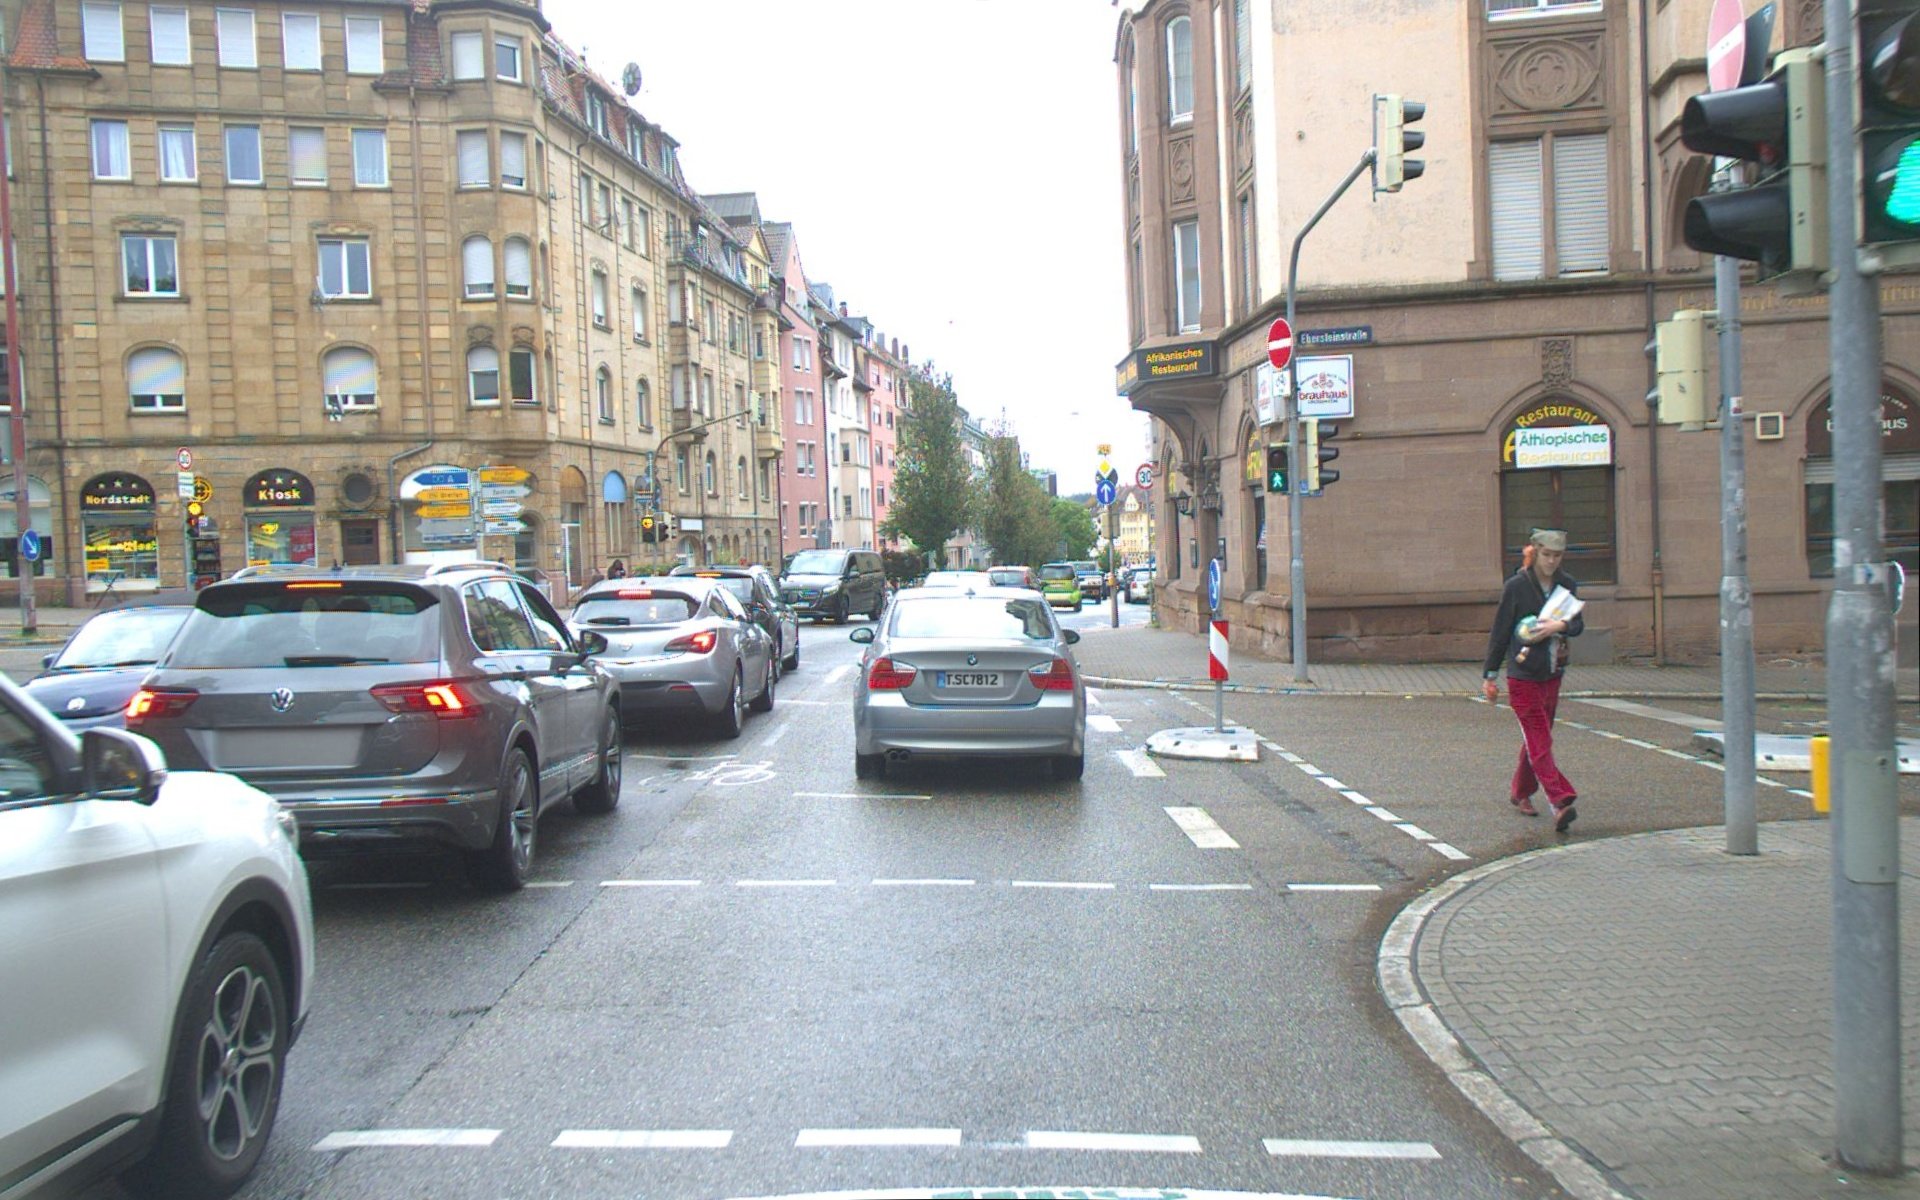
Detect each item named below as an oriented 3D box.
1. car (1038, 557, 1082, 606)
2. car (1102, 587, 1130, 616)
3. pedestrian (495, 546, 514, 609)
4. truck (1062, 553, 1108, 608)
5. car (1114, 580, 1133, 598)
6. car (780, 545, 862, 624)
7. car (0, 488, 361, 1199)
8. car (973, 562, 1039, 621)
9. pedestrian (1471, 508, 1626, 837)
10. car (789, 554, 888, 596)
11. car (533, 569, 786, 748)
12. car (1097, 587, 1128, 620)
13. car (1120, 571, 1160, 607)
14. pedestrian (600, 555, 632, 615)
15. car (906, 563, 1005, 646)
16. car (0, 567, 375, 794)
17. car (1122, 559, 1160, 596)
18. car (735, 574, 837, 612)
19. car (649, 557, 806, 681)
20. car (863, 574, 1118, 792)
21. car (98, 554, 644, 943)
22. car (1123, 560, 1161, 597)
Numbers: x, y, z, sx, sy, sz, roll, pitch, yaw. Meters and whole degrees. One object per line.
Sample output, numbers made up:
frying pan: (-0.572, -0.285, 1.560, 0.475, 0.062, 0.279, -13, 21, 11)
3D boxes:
car: (3.311, -0.601, 55.080, 1.418, 1.593, 3.334, 0, 0, 3)
car: (10.348, 0.090, 109.499, 1.740, 1.829, 4.003, 1, -1, 6)
pedestrian: (-13.012, -0.644, 47.258, 0.514, 1.805, 0.690, 0, 1, -18)
truck: (5.862, -0.881, 77.227, 1.989, 2.455, 4.830, 0, 0, 6)
car: (17.052, -1.151, 172.212, 1.839, 1.761, 4.680, 0, 1, 7)
car: (-3.551, -0.400, 42.836, 1.707, 1.878, 4.146, -2, 0, 0)
car: (-2.545, 0.646, 2.713, 1.717, 1.673, 4.376, 0, 0, -3)
car: (1.274, -0.219, 44.202, 1.662, 1.509, 3.795, 0, 0, 3)
pedestrian: (3.711, 0.417, 10.513, 0.683, 1.983, 1.091, 0, 2, 6)
car: (-5.649, -1.173, 77.314, 4.581, 1.972, 1.862, 0, 1, -3)
car: (-2.829, 0.469, 16.457, 1.716, 1.509, 4.181, -1, 1, 0)
car: (9.244, 0.225, 100.145, 1.774, 1.937, 4.003, 1, -1, 6)
car: (8.401, -0.514, 77.387, 1.761, 1.592, 4.496, 0, 0, 6)
pedestrian: (-10.043, -0.433, 48.277, 0.815, 1.732, 0.634, 0, 1, -23)
car: (-0.033, 0.078, 30.925, 1.646, 1.453, 3.742, 0, 0, 3)
car: (-6.714, 0.592, 14.308, 1.679, 1.522, 3.685, -7, 1, 3)
car: (9.708, -1.184, 88.763, 1.879, 1.859, 5.013, -3, 0, 7)
car: (-7.575, -0.321, 72.207, 4.059, 1.537, 1.875, -1, 1, 7)
car: (-3.153, 0.239, 23.156, 1.717, 1.562, 4.213, 0, 0, -2)
car: (0.150, 0.542, 13.201, 1.734, 1.453, 3.740, 1, 1, -2)
car: (-3.017, 0.603, 9.478, 1.717, 1.673, 4.212, 0, 2, -2)
car: (9.097, -1.066, 82.713, 1.839, 1.762, 4.680, 0, 0, 7)
